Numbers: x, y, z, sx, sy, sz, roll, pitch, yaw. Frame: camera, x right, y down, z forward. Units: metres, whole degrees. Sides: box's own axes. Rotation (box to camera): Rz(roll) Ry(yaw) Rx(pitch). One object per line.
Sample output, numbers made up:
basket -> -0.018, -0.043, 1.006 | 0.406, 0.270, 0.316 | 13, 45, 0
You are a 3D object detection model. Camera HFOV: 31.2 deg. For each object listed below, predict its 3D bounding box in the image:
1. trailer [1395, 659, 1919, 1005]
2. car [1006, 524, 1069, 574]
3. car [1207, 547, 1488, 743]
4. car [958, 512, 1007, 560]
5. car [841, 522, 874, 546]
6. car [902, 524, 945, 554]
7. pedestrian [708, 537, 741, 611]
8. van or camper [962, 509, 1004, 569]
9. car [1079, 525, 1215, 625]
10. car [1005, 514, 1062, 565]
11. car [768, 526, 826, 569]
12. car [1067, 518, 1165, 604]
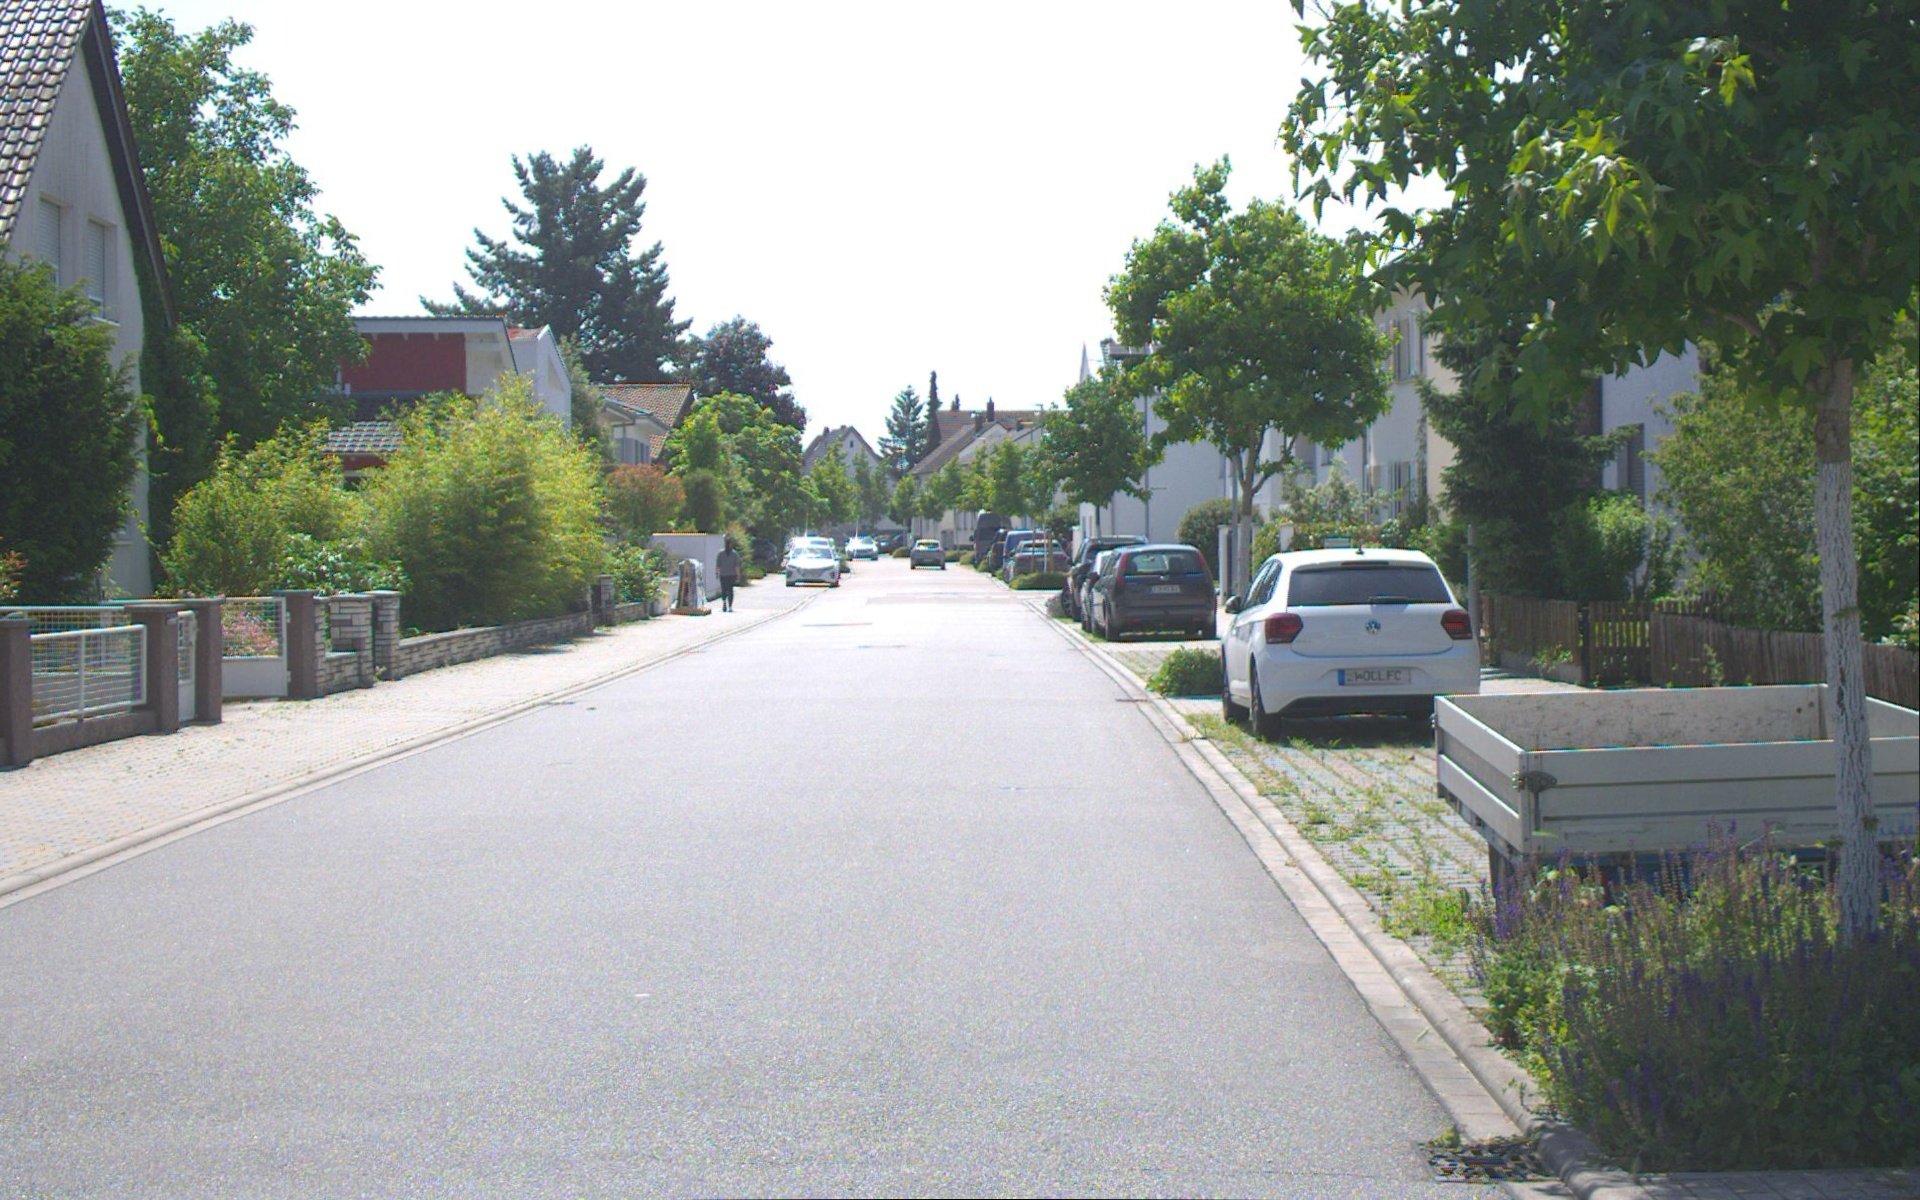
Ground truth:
trailer -> 2.708, 0.812, 13.095 | 1.788, 1.055, 2.899 | 0, 1, 1
car -> 2.528, -1.687, 113.219 | 1.773, 1.590, 4.280 | 0, 1, -3
car -> 3.001, 0.302, 27.347 | 1.814, 1.415, 3.868 | 0, 1, 0
car -> 0.922, -2.698, 144.329 | 1.993, 1.940, 5.215 | 0, 1, 0
car -> -6.506, -4.174, 217.630 | 1.853, 1.473, 4.700 | 0, 1, 1
car -> -1.786, -3.015, 169.101 | 1.993, 1.425, 4.000 | 0, 1, 1
pedestrian -> -5.545, -0.616, 80.973 | 0.714, 1.741, 0.961 | 0, 1, 0
van or camper -> 1.129, -3.006, 169.129 | 1.993, 2.931, 4.000 | 0, 1, -1
car -> 2.941, -0.421, 54.752 | 1.741, 1.528, 4.449 | 0, 1, -2
car -> 2.762, -2.278, 130.017 | 2.099, 1.875, 4.843 | 0, 1, 0
car -> -5.753, -1.873, 121.846 | 1.852, 1.483, 4.385 | 0, 1, 0
car -> 3.143, -0.822, 70.018 | 1.814, 1.650, 4.565 | 0, 2, 0
